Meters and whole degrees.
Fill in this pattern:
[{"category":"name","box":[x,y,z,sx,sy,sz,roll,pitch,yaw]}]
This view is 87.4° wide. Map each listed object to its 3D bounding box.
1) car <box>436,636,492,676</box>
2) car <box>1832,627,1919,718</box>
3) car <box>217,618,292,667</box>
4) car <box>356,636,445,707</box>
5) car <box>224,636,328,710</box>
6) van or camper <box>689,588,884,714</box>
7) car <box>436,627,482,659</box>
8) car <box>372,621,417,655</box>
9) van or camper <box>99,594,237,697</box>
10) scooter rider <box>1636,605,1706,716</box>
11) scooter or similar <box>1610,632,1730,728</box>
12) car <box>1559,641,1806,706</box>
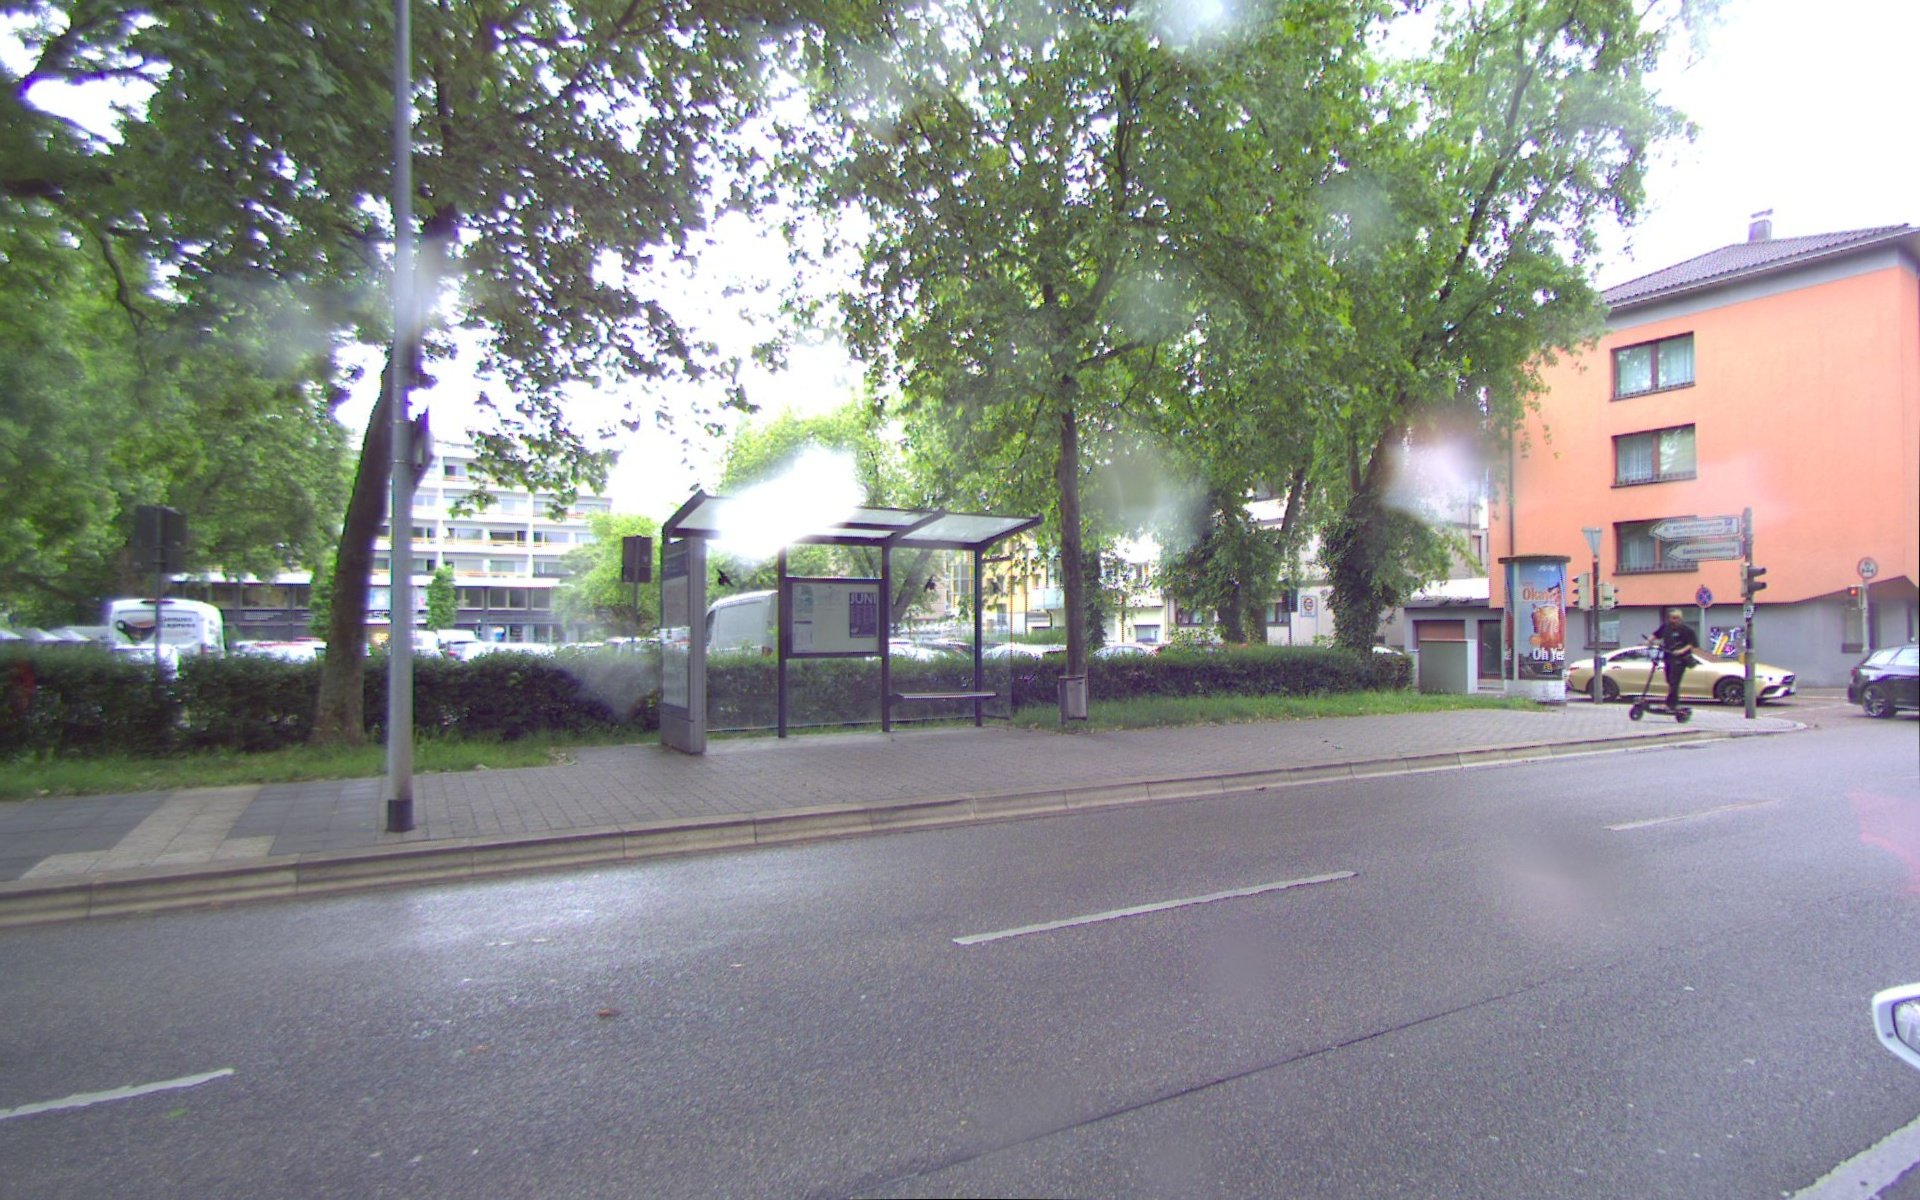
[{"category":"car","box":[-22.107,2.455,44.715,1.876,1.506,3.966,2,0,-31]},{"category":"car","box":[18.189,1.288,17.896,1.814,1.646,4.140,-1,-3,3]},{"category":"car","box":[-25.049,1.482,35.764,1.876,1.506,3.966,2,0,-31]},{"category":"car","box":[-14.604,1.798,26.142,1.876,1.506,3.966,2,0,-31]},{"category":"car","box":[-16.853,1.733,24.925,1.876,1.506,3.966,2,0,-31]},{"category":"van or camper","box":[-3.288,0.876,18.272,1.978,1.975,4.572,1,-2,-31]},{"category":"car","box":[-26.965,2.304,53.969,1.876,1.506,3.966,2,0,-31]},{"category":"car","box":[-32.475,2.138,57.639,2.075,1.745,3.966,2,0,-31]},{"category":"van or camper","box":[-20.696,1.180,26.470,2.073,2.463,4.310,1,-2,-28]},{"category":"scooter rider","box":[11.875,1.004,16.793,0.633,1.789,0.735,1,-2,-3]},{"category":"scooter or similar","box":[11.864,1.314,16.818,1.371,1.465,0.817,4,0,-3]},{"category":"car","box":[17.592,1.745,24.682,1.815,1.422,4.603,1,-3,-37]}]
